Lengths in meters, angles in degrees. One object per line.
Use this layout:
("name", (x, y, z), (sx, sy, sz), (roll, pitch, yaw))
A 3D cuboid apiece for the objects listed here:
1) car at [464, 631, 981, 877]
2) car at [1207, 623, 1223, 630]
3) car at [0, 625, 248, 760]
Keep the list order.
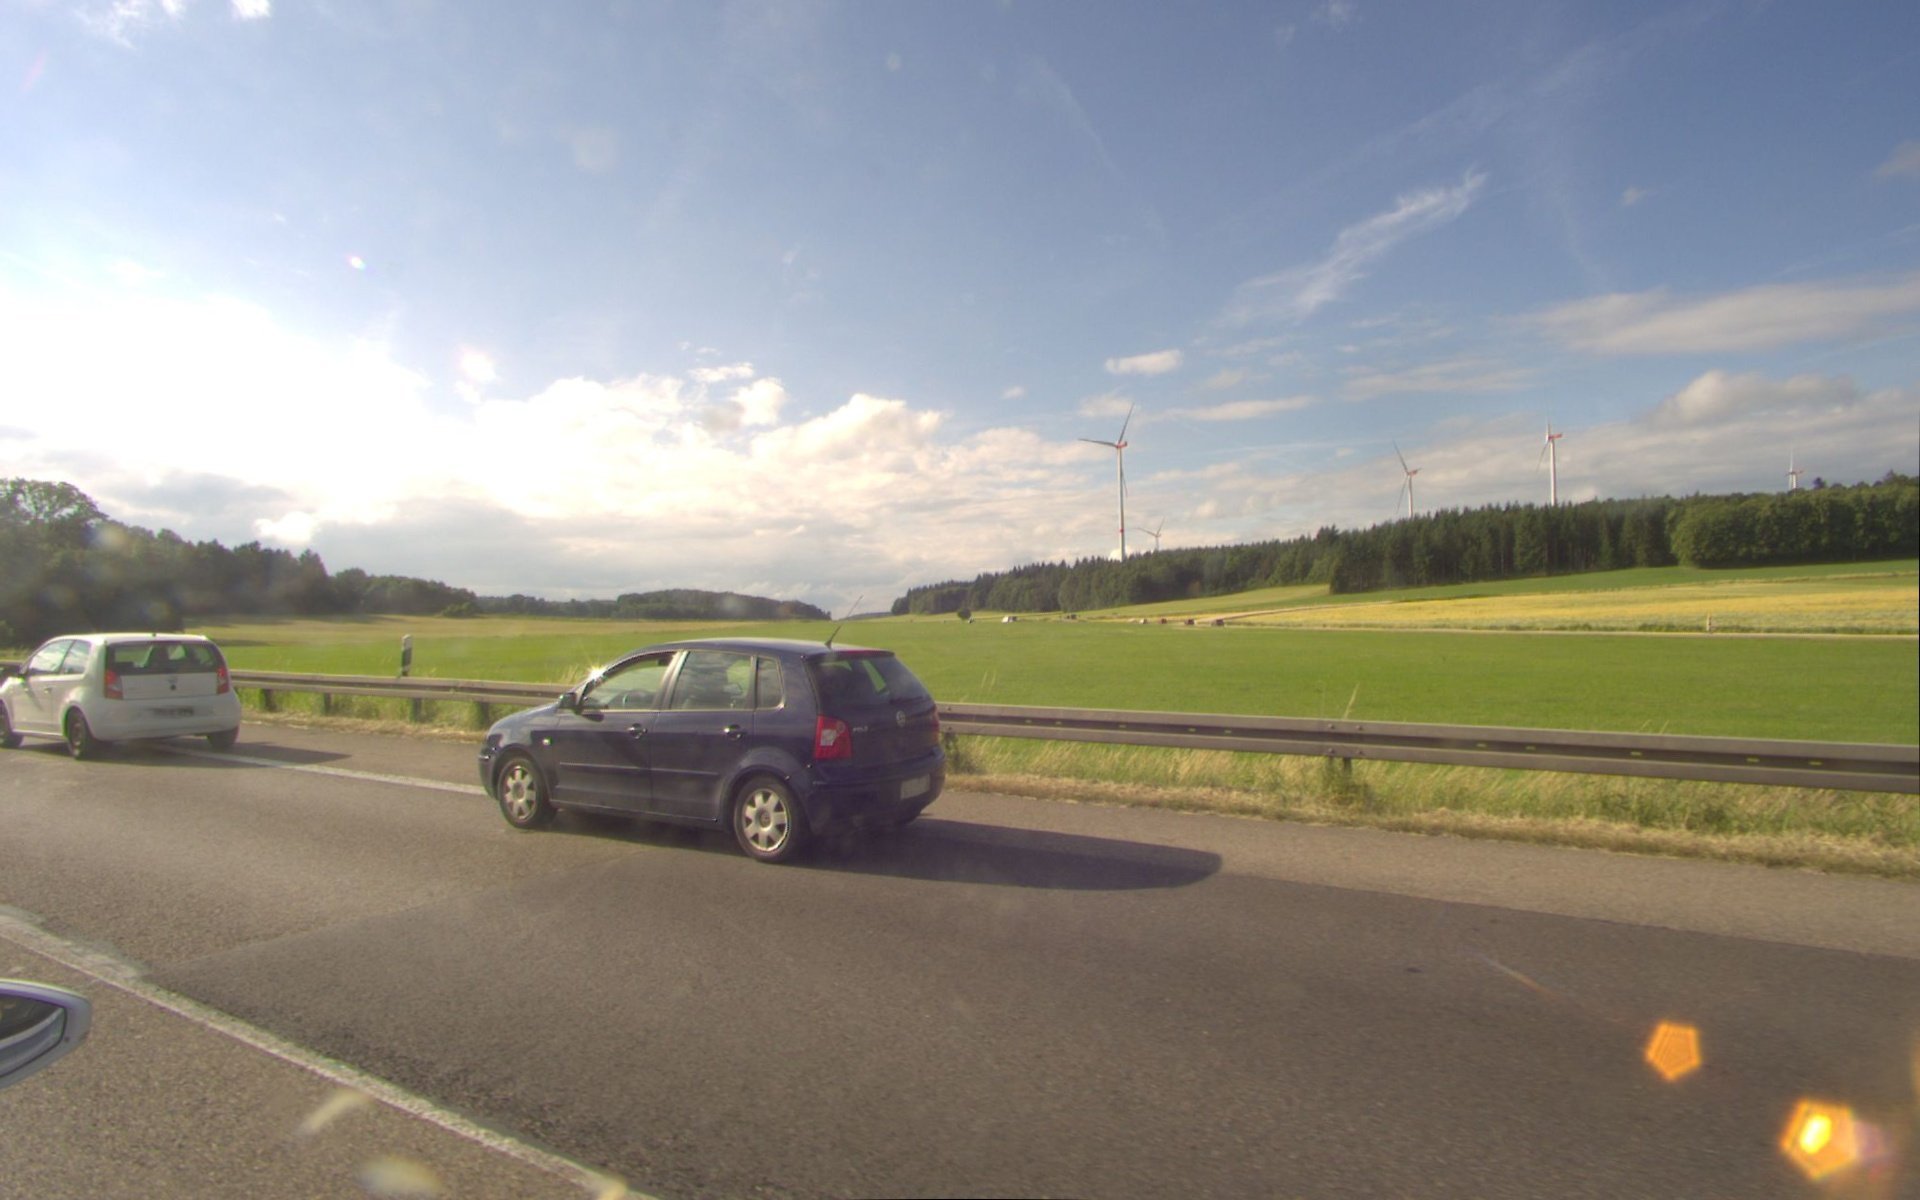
("car", (-1.868, 0.987, 7.654), (3.718, 1.464, 1.708), (-1, -2, 30))
("car", (51.306, 5.365, 201.516), (1.803, 1.505, 4.221), (0, -2, -6))
("car", (-10.900, 1.093, 12.916), (3.327, 1.514, 1.547), (0, -1, 30))
